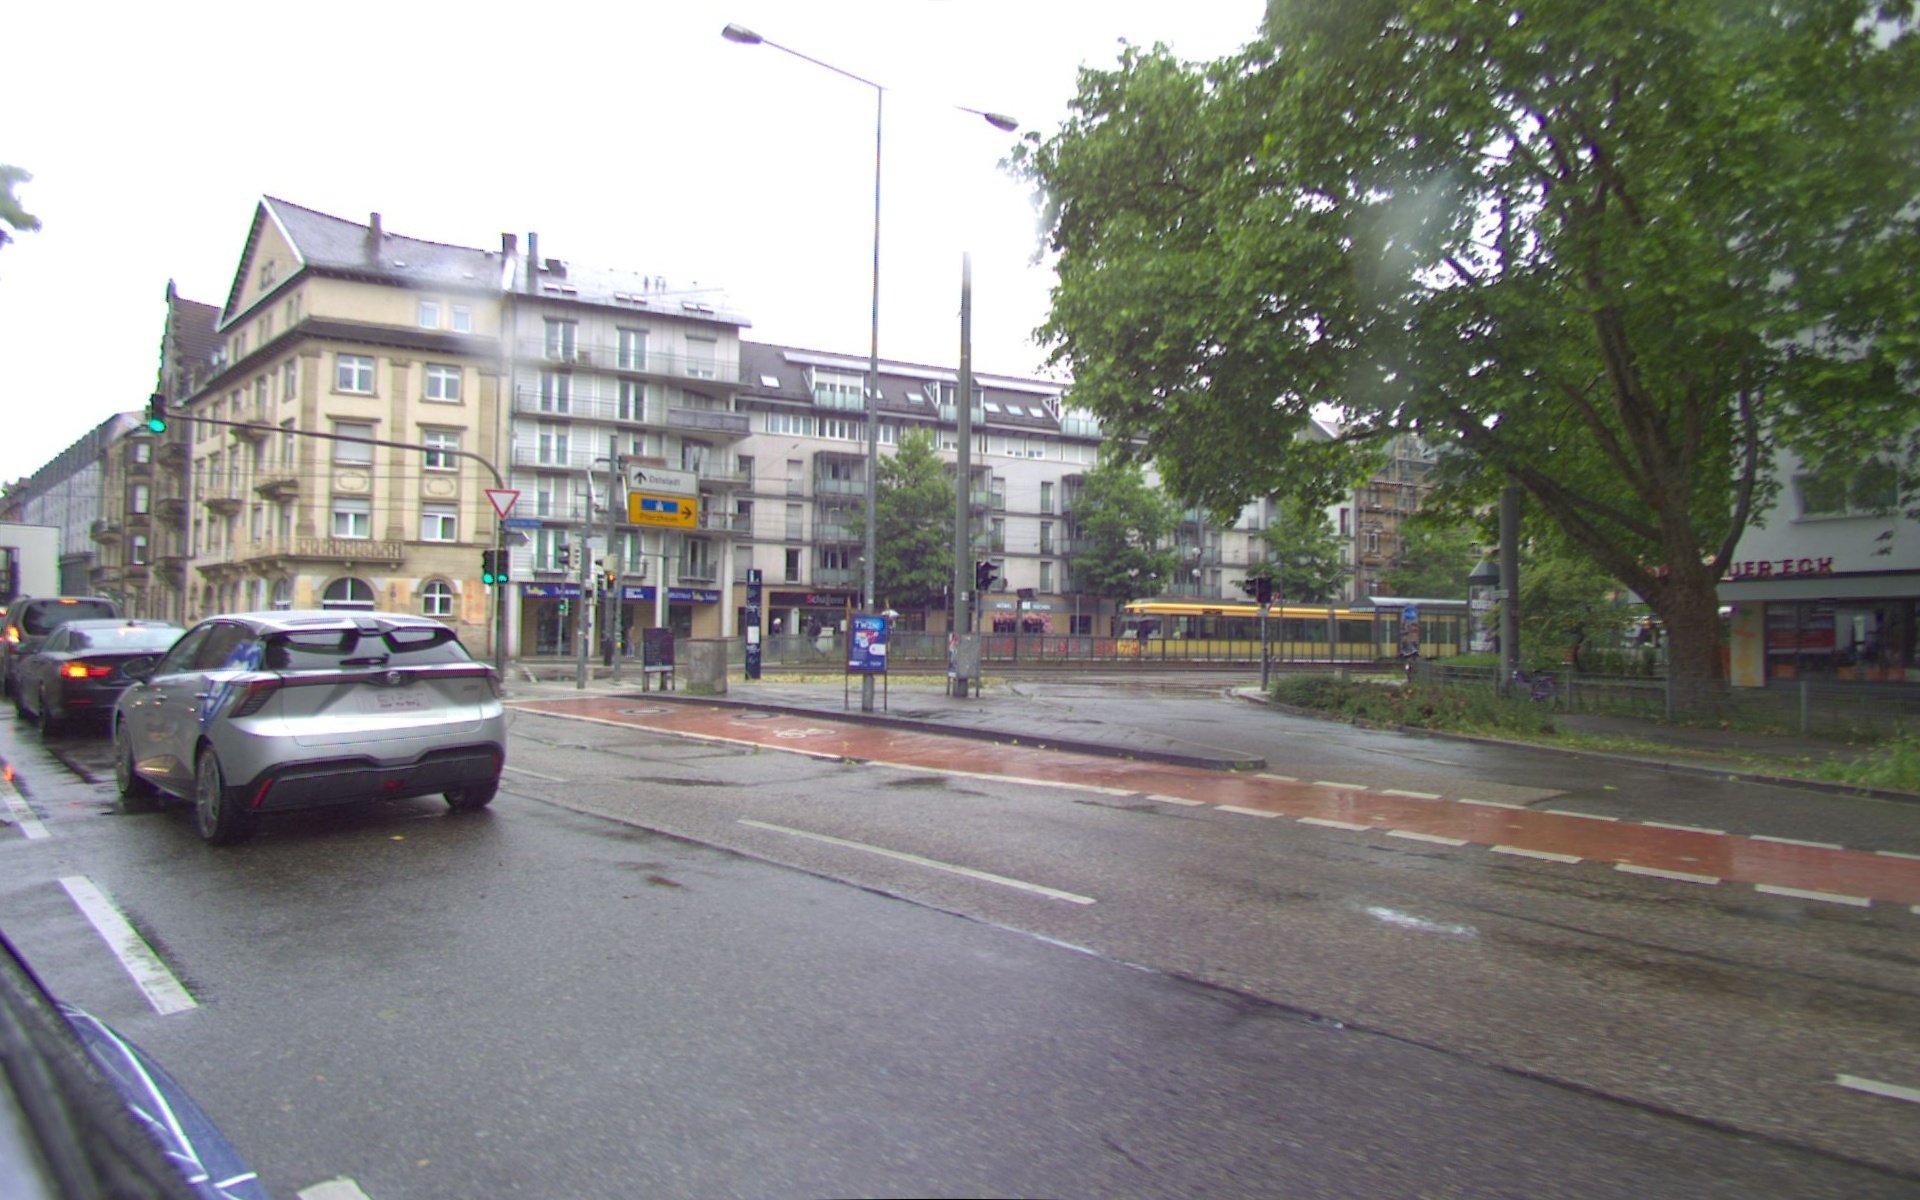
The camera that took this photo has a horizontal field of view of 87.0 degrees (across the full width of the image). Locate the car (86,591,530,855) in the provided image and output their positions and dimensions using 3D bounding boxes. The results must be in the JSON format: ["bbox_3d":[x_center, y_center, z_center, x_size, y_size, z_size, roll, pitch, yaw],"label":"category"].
[{"bbox_3d":[-5.222,0.777,7.899,4.053,1.521,1.826,-1,-3,41],"label":"car"}]

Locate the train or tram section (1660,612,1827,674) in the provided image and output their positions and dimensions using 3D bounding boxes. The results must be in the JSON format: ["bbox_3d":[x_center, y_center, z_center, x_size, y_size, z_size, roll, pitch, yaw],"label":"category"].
[{"bbox_3d":[48.033,2.691,61.951,11.376,3.531,3.082,2,-3,-24],"label":"train or tram section"}]

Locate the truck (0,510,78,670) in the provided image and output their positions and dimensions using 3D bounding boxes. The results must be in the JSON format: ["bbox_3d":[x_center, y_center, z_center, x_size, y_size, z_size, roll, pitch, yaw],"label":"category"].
[{"bbox_3d":[-28.265,-0.167,28.988,10.308,4.056,2.817,-1,-4,40],"label":"truck"}]

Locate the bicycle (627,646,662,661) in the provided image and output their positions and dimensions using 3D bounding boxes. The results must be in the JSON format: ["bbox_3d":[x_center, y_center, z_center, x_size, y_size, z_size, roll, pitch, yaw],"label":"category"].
[{"bbox_3d":[-18.283,3.104,58.642,1.894,0.873,0.583,2,-3,-22],"label":"bicycle"}]

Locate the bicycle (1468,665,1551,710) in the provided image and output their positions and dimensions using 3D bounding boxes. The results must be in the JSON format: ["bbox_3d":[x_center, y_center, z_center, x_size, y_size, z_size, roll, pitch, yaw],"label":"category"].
[{"bbox_3d":[12.820,2.026,23.703,0.629,0.876,2.317,0,-1,-1],"label":"bicycle"}]

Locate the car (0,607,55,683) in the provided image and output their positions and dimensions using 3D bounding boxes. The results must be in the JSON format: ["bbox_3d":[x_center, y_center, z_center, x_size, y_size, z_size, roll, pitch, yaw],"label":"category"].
[{"bbox_3d":[-21.927,0.981,22.885,3.999,1.616,1.723,-1,-3,42],"label":"car"}]

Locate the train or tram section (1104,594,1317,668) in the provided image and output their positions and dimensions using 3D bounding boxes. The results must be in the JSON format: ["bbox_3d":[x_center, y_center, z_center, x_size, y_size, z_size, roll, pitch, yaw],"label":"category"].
[{"bbox_3d":[13.220,1.712,52.984,11.376,3.531,3.082,2,-3,-24],"label":"train or tram section"}]

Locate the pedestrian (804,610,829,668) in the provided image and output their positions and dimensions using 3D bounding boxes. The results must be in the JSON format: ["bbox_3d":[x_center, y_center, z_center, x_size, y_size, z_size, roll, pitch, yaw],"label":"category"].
[{"bbox_3d":[-5.319,1.444,37.456,0.690,2.093,0.639,2,-3,-29],"label":"pedestrian"}]

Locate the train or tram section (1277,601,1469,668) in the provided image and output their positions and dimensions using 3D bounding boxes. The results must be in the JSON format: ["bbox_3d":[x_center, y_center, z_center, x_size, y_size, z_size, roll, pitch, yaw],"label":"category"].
[{"bbox_3d":[23.610,2.054,57.650,11.376,3.531,3.082,2,-3,-24],"label":"train or tram section"}]

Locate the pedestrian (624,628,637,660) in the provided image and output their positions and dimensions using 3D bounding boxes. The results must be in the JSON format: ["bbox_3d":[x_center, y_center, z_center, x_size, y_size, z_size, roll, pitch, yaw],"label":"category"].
[{"bbox_3d":[-18.508,2.469,56.799,0.601,1.794,0.501,2,-3,-24],"label":"pedestrian"}]

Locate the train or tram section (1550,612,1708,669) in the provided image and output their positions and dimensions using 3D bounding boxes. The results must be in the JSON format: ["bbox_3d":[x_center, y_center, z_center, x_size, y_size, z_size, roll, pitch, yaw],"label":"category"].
[{"bbox_3d":[44.338,2.744,66.998,11.376,3.531,3.082,2,-3,-24],"label":"train or tram section"}]

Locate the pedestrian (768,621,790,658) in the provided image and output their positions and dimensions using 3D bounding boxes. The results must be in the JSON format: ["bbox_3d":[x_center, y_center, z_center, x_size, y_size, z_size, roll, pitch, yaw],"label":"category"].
[{"bbox_3d":[-8.255,1.788,46.120,0.743,1.661,0.840,3,-4,-28],"label":"pedestrian"}]

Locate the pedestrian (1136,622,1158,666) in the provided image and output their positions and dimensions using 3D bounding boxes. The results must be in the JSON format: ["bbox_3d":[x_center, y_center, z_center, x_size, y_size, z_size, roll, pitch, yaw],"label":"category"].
[{"bbox_3d":[8.059,1.888,43.655,0.667,1.852,0.642,3,-4,-25],"label":"pedestrian"}]

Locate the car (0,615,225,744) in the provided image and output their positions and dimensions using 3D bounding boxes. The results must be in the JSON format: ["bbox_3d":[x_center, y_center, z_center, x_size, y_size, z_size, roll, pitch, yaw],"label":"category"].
[{"bbox_3d":[-11.332,0.925,13.419,4.362,1.400,1.723,0,-1,43],"label":"car"}]

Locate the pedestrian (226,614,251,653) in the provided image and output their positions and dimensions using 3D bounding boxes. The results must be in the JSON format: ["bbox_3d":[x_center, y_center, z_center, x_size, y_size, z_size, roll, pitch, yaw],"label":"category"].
[{"bbox_3d":[-37.499,1.758,52.572,0.907,1.980,0.701,2,0,-43],"label":"pedestrian"}]

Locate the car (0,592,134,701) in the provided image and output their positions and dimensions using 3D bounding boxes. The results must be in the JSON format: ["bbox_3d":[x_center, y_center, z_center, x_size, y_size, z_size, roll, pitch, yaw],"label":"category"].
[{"bbox_3d":[-17.362,0.859,19.370,4.109,1.876,1.787,-1,-3,42],"label":"car"}]

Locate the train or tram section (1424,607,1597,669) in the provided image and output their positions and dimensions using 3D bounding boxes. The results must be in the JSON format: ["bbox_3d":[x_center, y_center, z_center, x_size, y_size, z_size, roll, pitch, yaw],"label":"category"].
[{"bbox_3d":[33.958,2.419,62.311,11.376,3.531,3.082,2,-3,-24],"label":"train or tram section"}]

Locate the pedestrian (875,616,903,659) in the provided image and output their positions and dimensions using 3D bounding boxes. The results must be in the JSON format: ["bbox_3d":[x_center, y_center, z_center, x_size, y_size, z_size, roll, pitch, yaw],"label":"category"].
[{"bbox_3d":[-2.772,1.463,39.399,0.803,1.661,0.796,3,-3,-25],"label":"pedestrian"}]
